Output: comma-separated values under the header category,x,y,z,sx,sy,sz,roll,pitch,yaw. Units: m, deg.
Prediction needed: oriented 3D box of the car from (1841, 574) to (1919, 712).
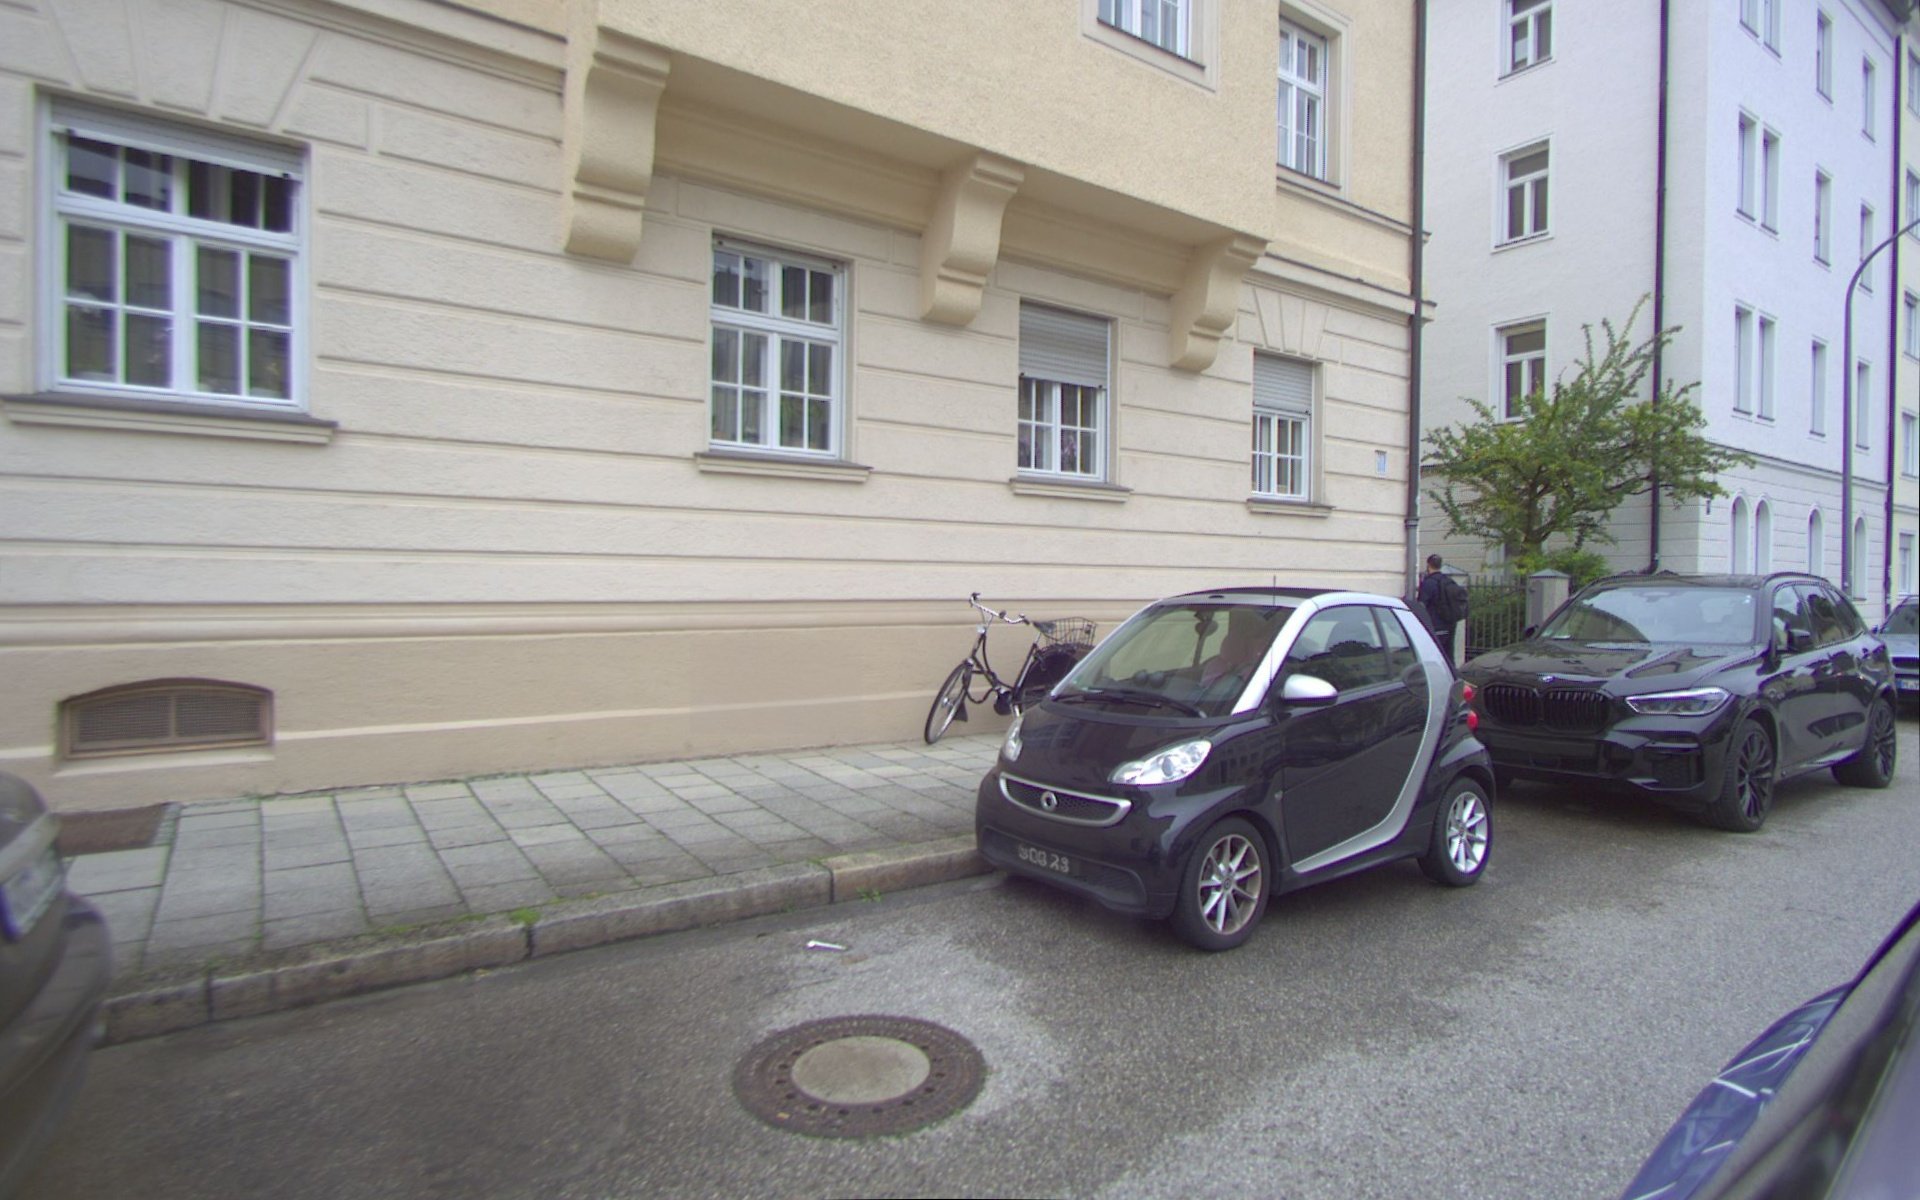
category,x,y,z,sx,sy,sz,roll,pitch,yaw
car,13.996,0.506,13.954,4.306,1.752,1.783,-1,0,-35

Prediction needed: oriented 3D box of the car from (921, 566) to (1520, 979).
category,x,y,z,sx,sy,sz,roll,pitch,yaw
car,1.397,0.643,5.283,2.807,1.576,1.513,-1,0,-33

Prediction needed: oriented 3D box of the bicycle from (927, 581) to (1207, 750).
category,x,y,z,sx,sy,sz,roll,pitch,yaw
bicycle,0.987,0.479,8.720,2.595,1.262,0.704,-1,1,-36

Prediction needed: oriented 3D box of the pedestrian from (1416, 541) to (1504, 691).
category,x,y,z,sx,sy,sz,roll,pitch,yaw
pedestrian,6.134,0.191,12.450,0.680,1.783,0.686,-1,0,-3

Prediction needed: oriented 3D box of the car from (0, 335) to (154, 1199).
category,x,y,z,sx,sy,sz,roll,pitch,yaw
car,-3.566,0.468,1.426,3.659,1.752,1.842,-1,0,-35

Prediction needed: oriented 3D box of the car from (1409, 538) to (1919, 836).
category,x,y,z,sx,sy,sz,roll,pitch,yaw
car,5.791,0.547,8.084,4.597,1.752,1.934,1,-1,-35
